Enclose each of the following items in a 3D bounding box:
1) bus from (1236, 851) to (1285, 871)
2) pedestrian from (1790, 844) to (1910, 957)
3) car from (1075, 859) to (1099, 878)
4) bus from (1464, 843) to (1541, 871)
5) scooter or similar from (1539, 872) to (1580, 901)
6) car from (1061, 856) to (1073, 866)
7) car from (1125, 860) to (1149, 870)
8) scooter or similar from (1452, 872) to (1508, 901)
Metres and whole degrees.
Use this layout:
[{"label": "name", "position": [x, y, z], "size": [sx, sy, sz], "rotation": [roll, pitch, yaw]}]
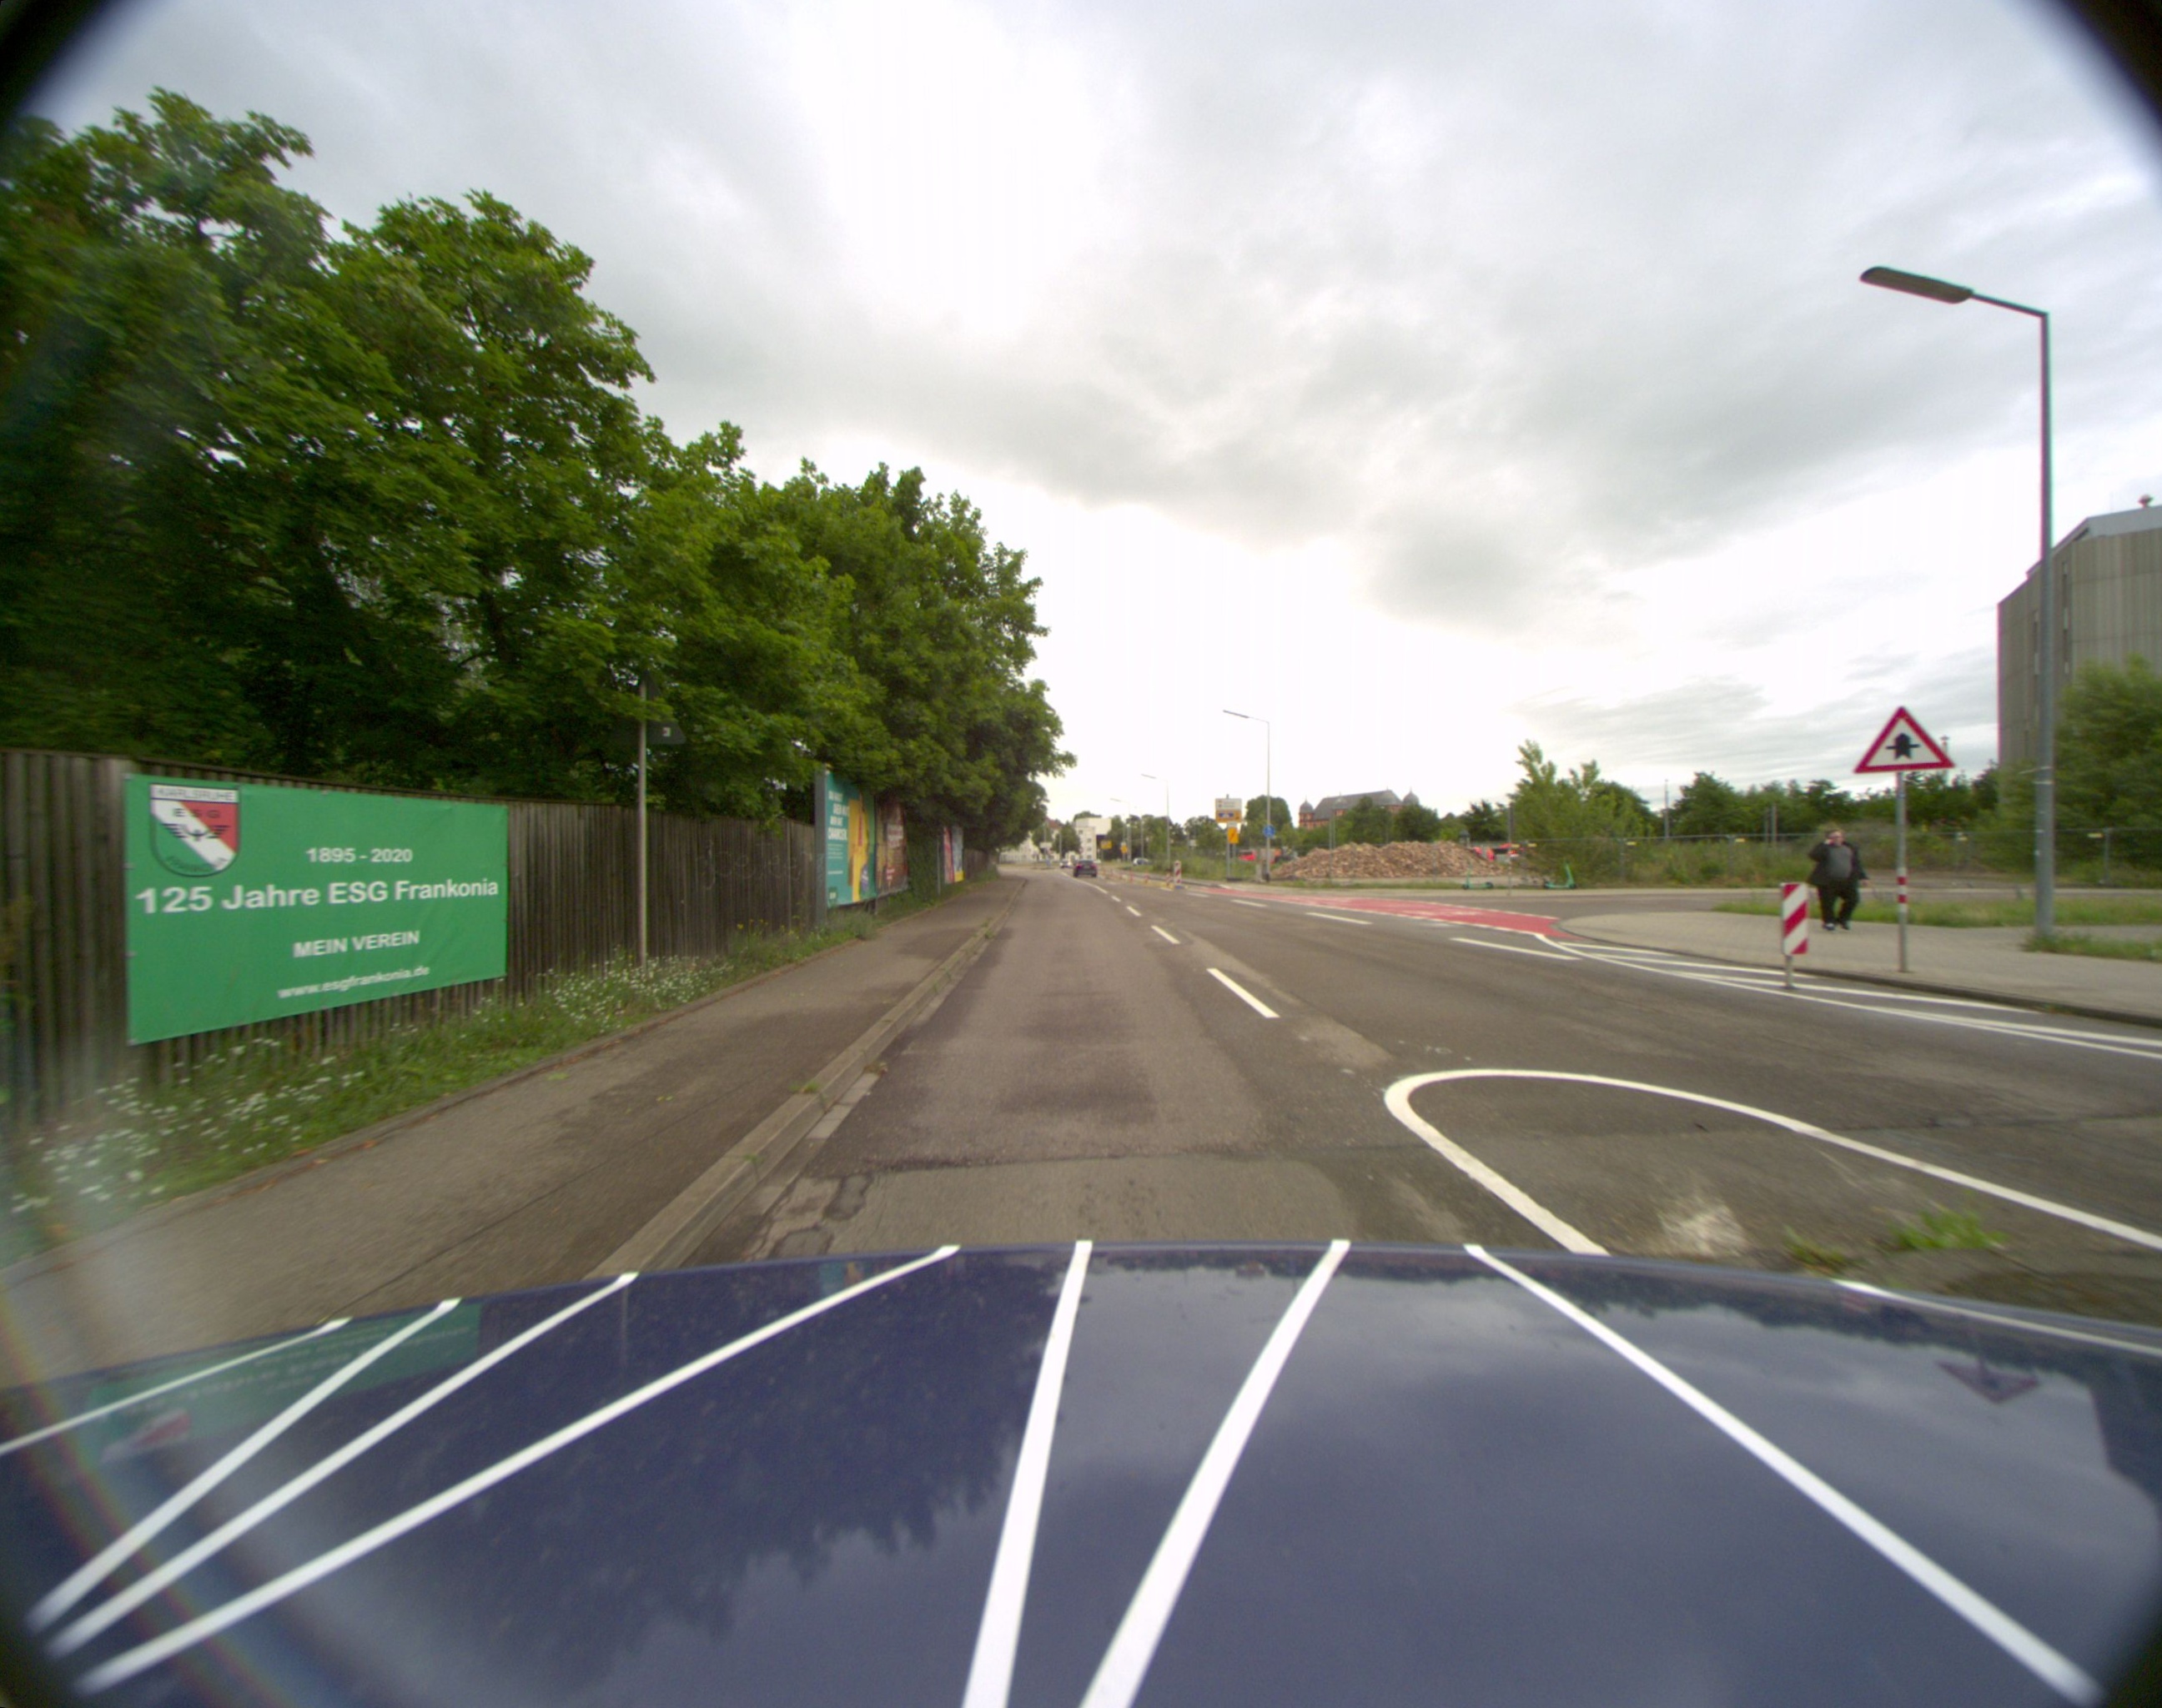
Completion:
[{"label": "bus", "position": [33.476, 1.302, 141.806], "size": [8.375, 3.626, 2.740], "rotation": [-1, -1, 37]}, {"label": "pedestrian", "position": [12.615, 0.741, 12.506], "size": [0.846, 1.772, 1.076], "rotation": [-1, -1, -7]}, {"label": "car", "position": [0.483, 1.238, 64.420], "size": [1.886, 1.557, 4.358], "rotation": [-1, -1, -2]}, {"label": "bus", "position": [64.325, 0.550, 116.118], "size": [9.862, 3.958, 2.740], "rotation": [-2, -1, 39]}, {"label": "scooter or similar", "position": [19.083, 1.286, 30.316], "size": [1.334, 1.135, 0.412], "rotation": [-2, 1, 28]}, {"label": "car", "position": [-2.258, 1.165, 125.008], "size": [1.756, 1.578, 3.900], "rotation": [1, 0, -4]}, {"label": "car", "position": [10.019, 1.936, 135.820], "size": [3.994, 1.608, 1.861], "rotation": [-2, 0, 10]}, {"label": "scooter or similar", "position": [16.420, 1.324, 31.304], "size": [1.898, 1.135, 0.658], "rotation": [-2, 0, 43]}]
